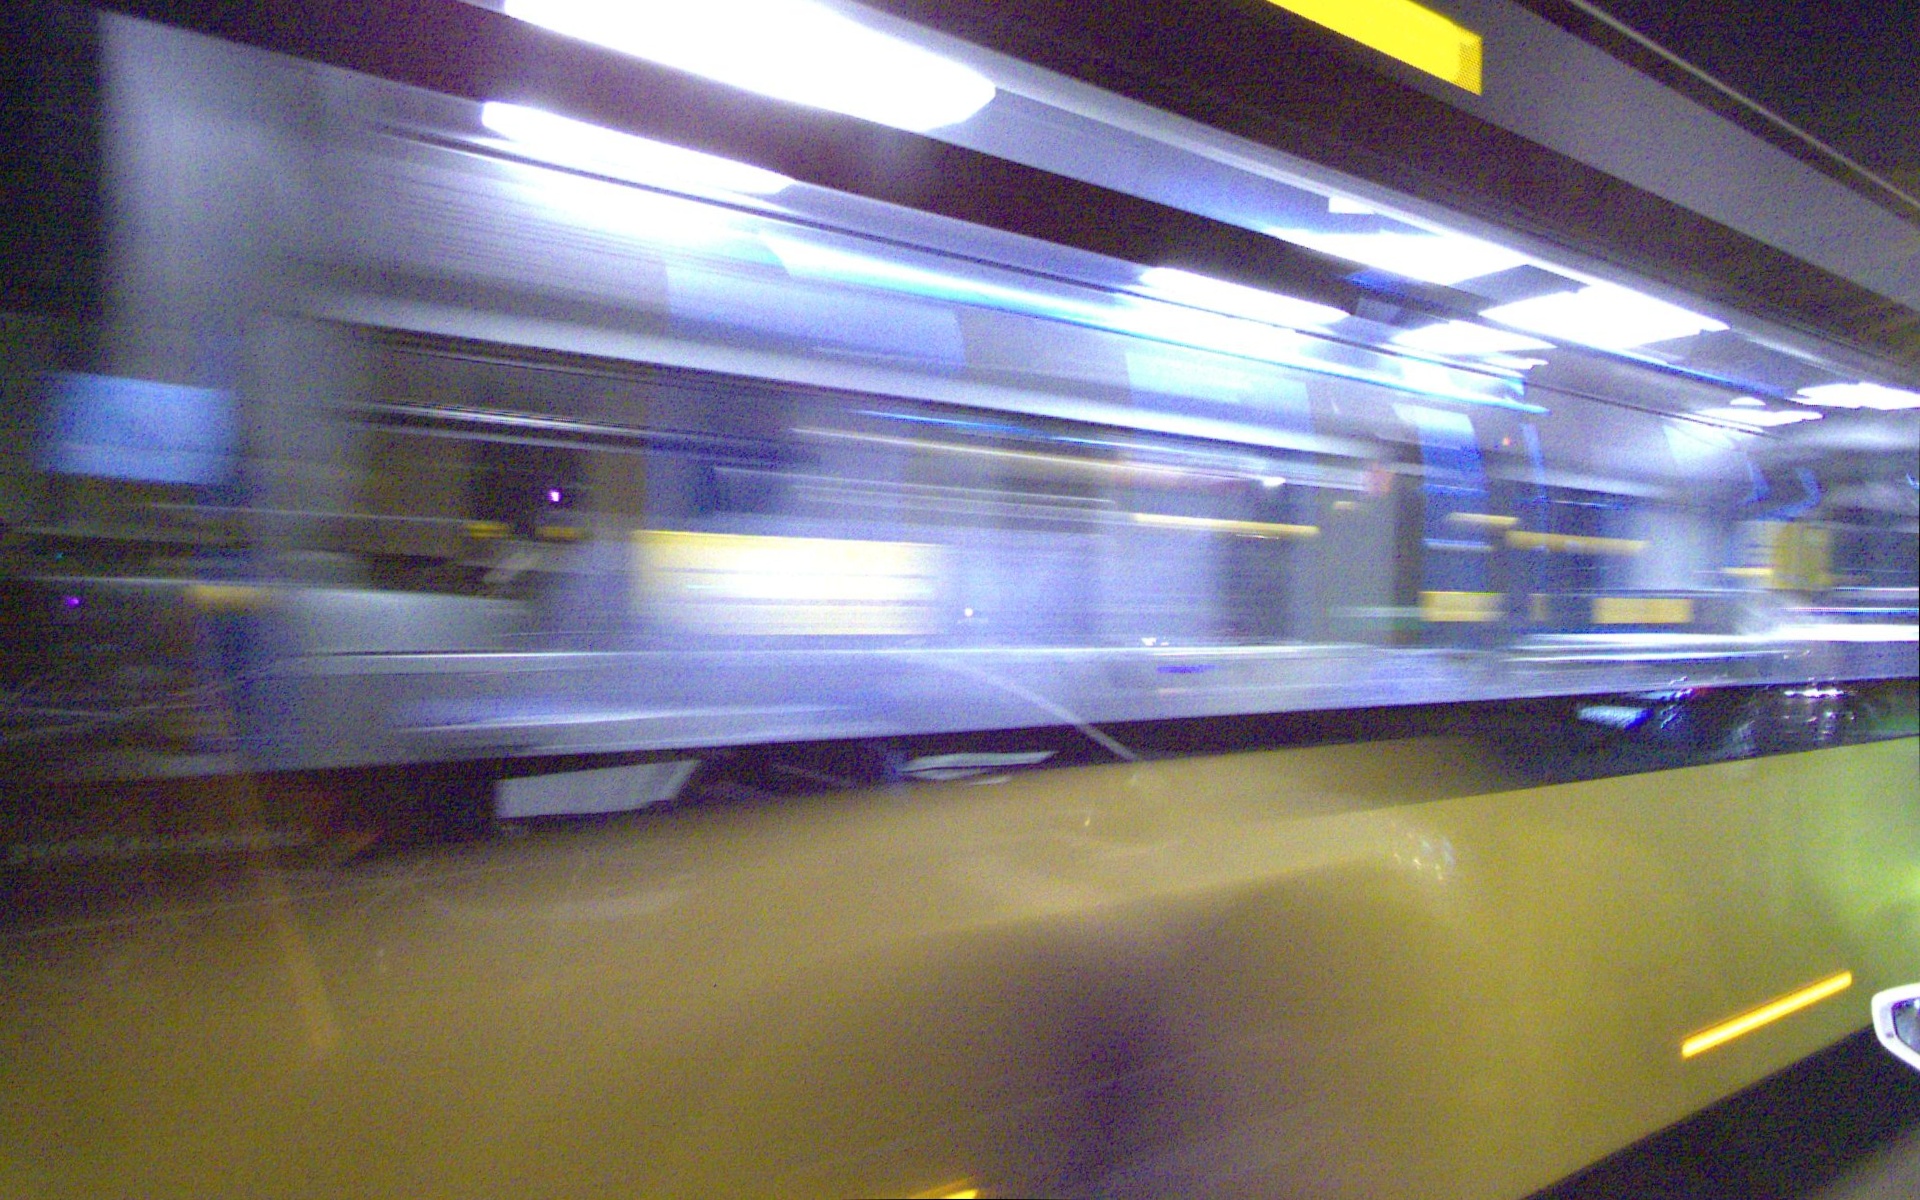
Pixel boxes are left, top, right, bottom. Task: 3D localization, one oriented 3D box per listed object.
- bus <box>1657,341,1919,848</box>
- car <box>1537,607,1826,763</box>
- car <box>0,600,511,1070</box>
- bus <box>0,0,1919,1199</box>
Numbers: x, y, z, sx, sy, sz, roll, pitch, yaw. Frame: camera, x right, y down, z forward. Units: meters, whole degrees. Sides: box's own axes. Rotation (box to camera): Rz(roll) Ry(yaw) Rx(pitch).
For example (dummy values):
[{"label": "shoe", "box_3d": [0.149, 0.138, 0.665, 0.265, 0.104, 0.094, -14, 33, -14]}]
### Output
[{"label": "bus", "box_3d": [9.303, 0.009, 8.385, 7.570, 3.220, 2.824, 1, 0, -30]}, {"label": "car", "box_3d": [8.046, 0.889, 11.212, 2.731, 1.517, 1.632, 2, -2, -29]}, {"label": "car", "box_3d": [-4.021, 0.785, 3.679, 4.180, 1.511, 1.695, 1, -3, -32]}, {"label": "bus", "box_3d": [1.523, -0.099, 3.742, 10.376, 3.220, 2.824, 1, 0, -31]}]
